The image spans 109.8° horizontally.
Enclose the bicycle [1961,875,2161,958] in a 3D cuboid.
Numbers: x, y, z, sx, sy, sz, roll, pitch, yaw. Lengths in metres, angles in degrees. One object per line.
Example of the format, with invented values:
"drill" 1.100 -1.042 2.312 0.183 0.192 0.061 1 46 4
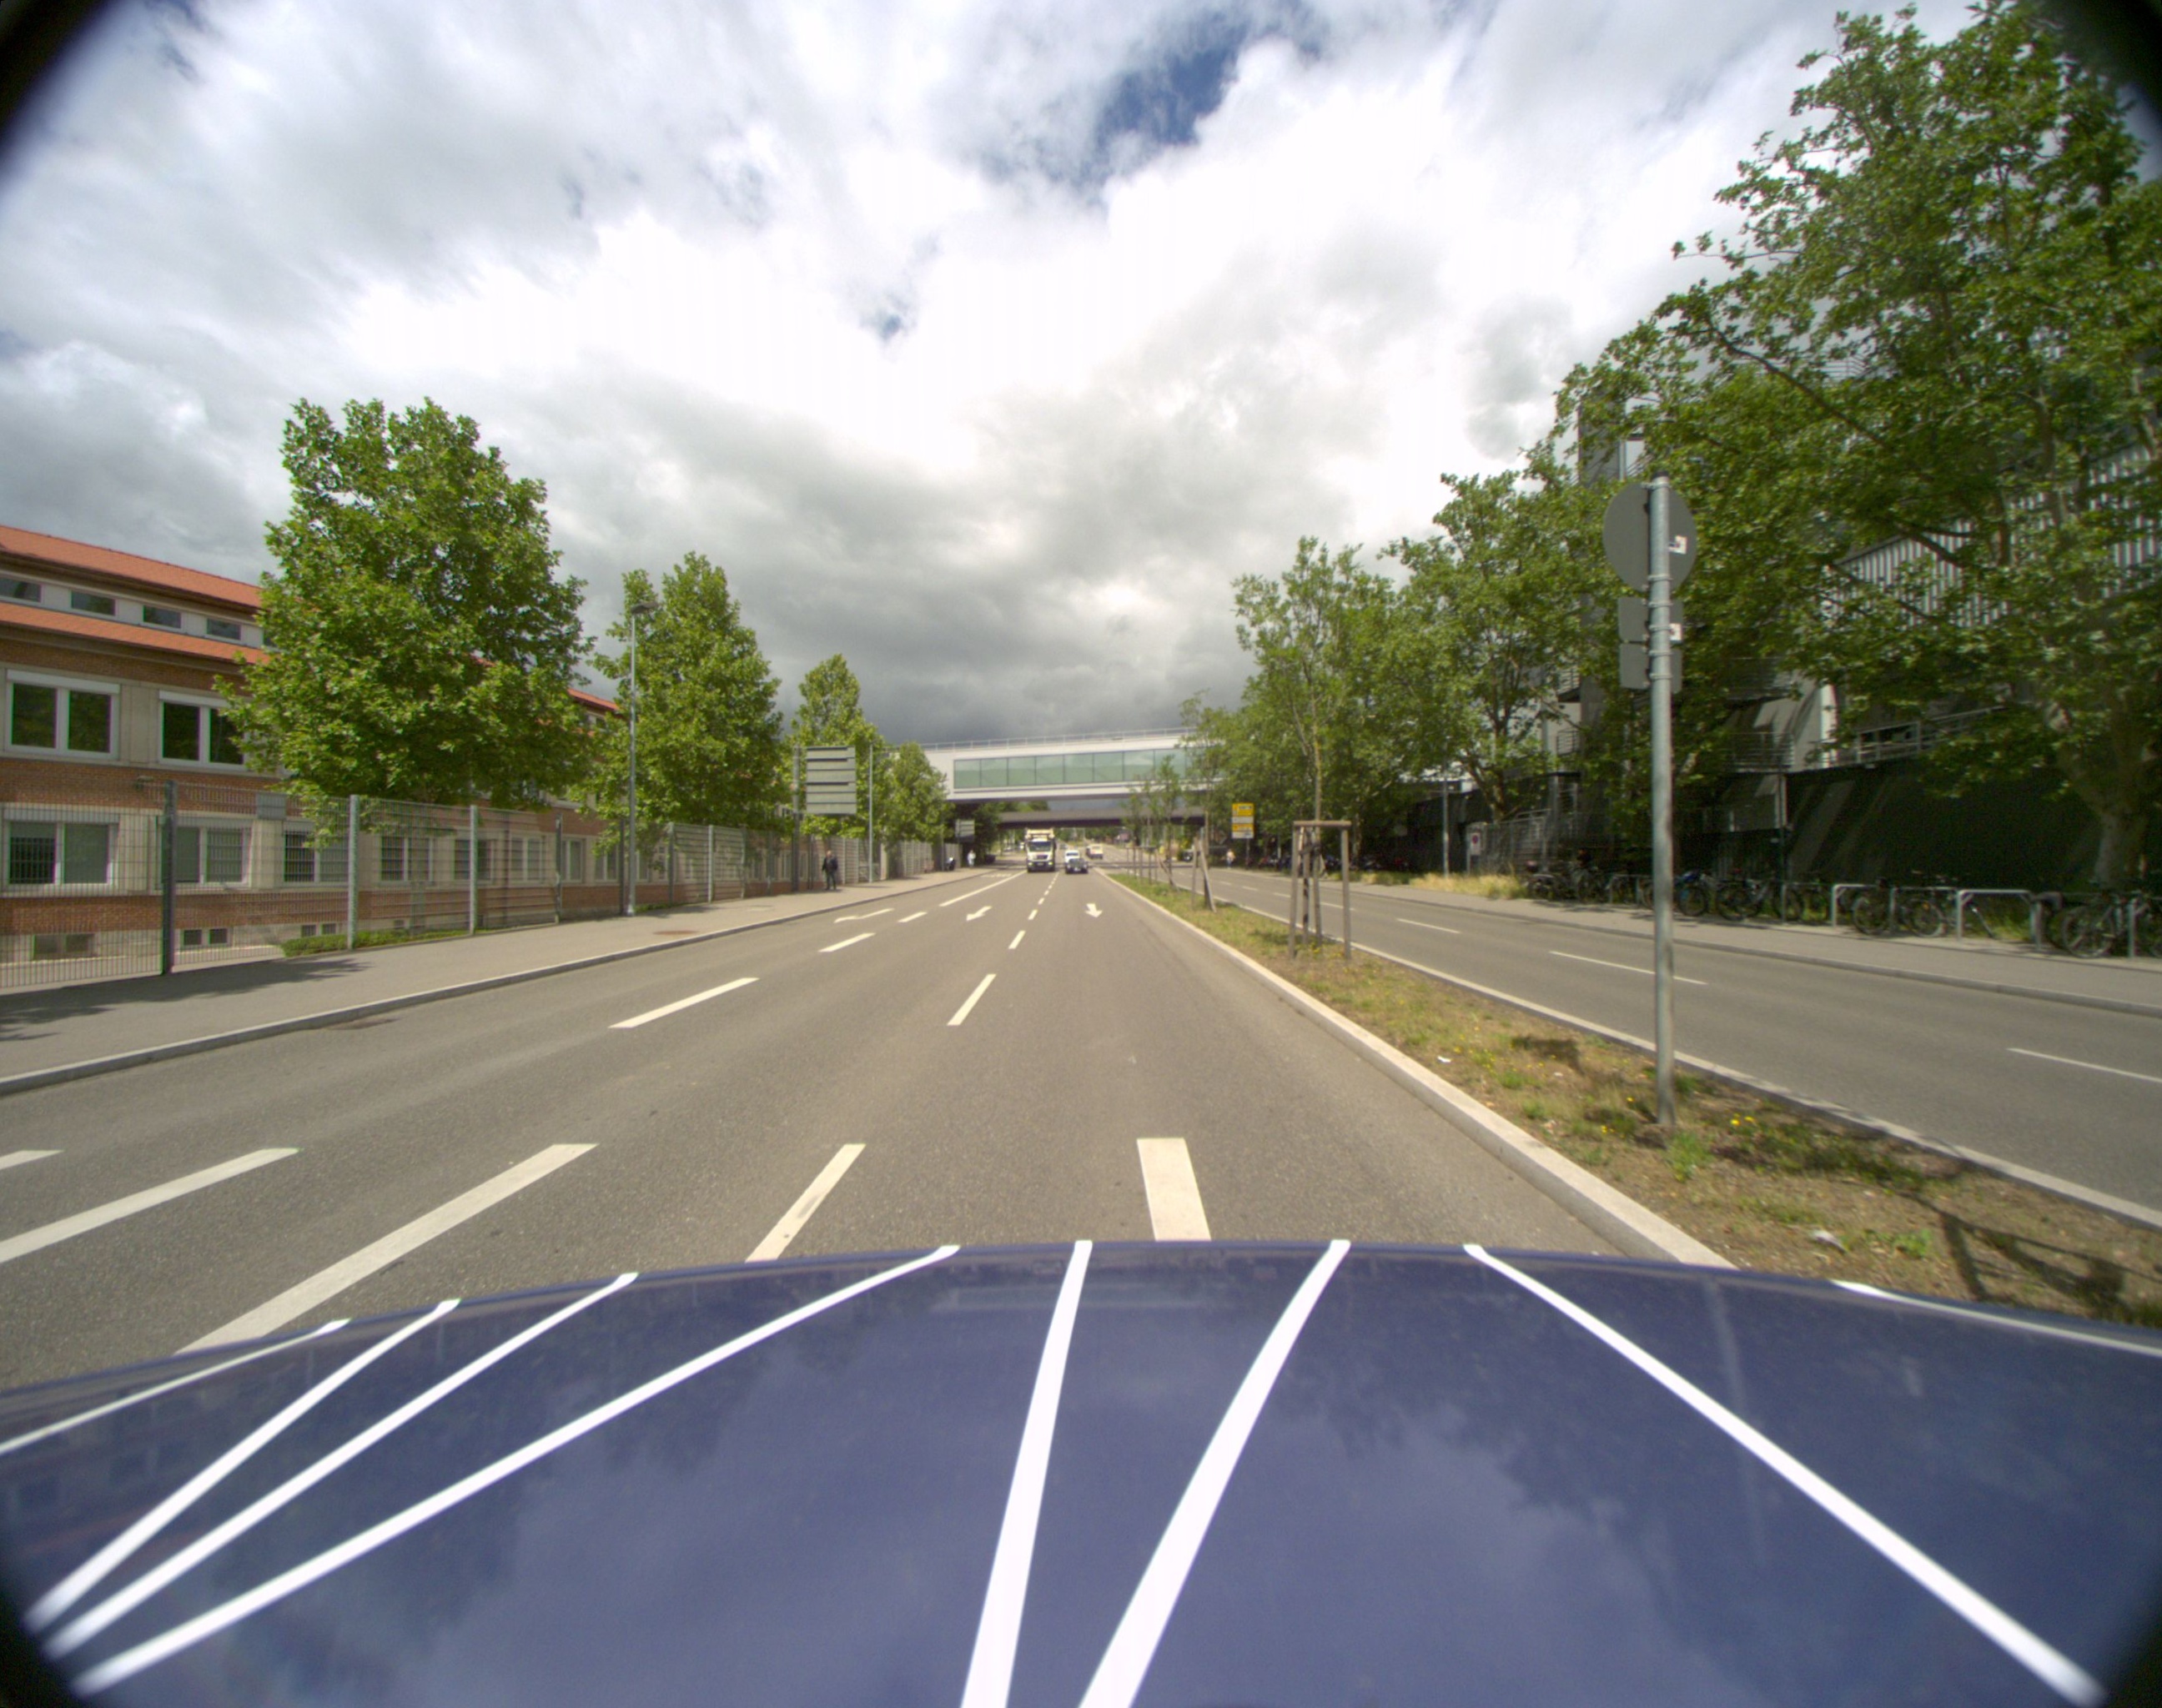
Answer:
"bicycle" 14.994 0.927 11.327 2.569 1.151 0.726 -1 1 10

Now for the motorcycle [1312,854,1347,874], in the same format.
"motorcycle" 15.646 0.624 47.857 1.882 1.172 0.698 -3 -1 3

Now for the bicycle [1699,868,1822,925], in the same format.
"bicycle" 14.335 0.878 16.064 1.923 1.116 0.806 -1 1 -2

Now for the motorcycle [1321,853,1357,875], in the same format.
"motorcycle" 15.116 0.596 44.576 1.881 1.179 0.730 -3 0 8

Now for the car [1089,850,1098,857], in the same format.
"car" 2.583 -0.136 154.436 1.713 1.445 4.479 -1 0 -1

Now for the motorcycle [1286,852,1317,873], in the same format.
"motorcycle" 15.084 0.581 51.920 1.934 1.336 0.866 -3 -1 20

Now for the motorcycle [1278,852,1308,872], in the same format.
"motorcycle" 15.146 0.569 54.220 1.934 1.283 0.894 -3 -1 20

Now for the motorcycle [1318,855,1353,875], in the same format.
"motorcycle" 15.269 0.656 45.673 1.880 1.078 0.795 -3 -1 15

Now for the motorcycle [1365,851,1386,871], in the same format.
"motorcycle" 18.753 0.448 48.423 0.654 1.202 1.984 -3 -1 4

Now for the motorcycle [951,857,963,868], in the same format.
"motorcycle" -11.768 0.799 72.114 0.709 1.058 2.510 2 1 -1

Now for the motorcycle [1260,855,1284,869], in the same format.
"motorcycle" 14.972 0.658 59.627 1.595 1.027 0.776 -3 -1 1

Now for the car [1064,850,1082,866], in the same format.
"car" -0.953 0.456 89.692 1.929 1.728 3.999 -1 0 -1

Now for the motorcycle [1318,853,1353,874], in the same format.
"motorcycle" 15.635 0.596 46.790 1.882 1.202 0.655 -3 -1 3

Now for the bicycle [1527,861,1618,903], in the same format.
"bicycle" 14.361 0.806 22.238 2.139 1.173 0.806 -1 1 -2

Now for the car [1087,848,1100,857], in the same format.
"car" 2.318 -0.223 139.572 1.910 1.621 4.291 -1 0 -4

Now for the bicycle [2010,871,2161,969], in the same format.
"bicycle" 14.329 0.887 10.433 2.410 1.250 0.556 -1 1 2

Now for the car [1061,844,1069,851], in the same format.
"car" -4.621 -1.961 218.442 1.999 2.002 3.999 -1 0 -1

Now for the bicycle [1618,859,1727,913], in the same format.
"bicycle" 14.903 0.791 19.177 2.139 1.275 0.806 -1 1 -2

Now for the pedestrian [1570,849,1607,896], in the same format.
"pedestrian" 17.044 0.599 25.544 0.755 1.543 0.821 -1 1 10

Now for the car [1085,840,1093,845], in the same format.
"car" 2.181 -3.188 207.123 1.998 1.346 4.000 0 1 1

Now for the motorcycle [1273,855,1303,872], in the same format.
"motorcycle" 15.162 0.680 55.771 1.933 1.109 0.923 -3 -1 27

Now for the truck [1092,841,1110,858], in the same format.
"truck" 3.342 -0.681 127.395 2.486 2.735 6.456 -1 0 -3

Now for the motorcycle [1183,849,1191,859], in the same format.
"motorcycle" 12.800 -0.037 91.761 0.641 1.191 2.257 -3 1 -1

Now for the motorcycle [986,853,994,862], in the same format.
"motorcycle" -12.205 0.509 101.985 0.679 1.148 2.112 0 1 0

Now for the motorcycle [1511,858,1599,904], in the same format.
"motorcycle" 14.256 0.800 22.880 2.139 1.301 0.806 -1 1 -2

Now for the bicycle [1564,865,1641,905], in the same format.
"bicycle" 14.742 0.872 21.496 1.929 1.068 0.422 -1 1 -2

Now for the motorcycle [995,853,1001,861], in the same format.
"motorcycle" -11.794 0.438 108.423 0.679 1.076 2.180 0 1 -2

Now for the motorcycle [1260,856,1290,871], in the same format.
"motorcycle" 14.678 0.717 57.465 1.939 1.109 0.920 1 1 -12

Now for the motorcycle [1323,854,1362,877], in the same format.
"motorcycle" 14.594 0.637 42.467 1.881 1.166 0.746 -3 -1 9

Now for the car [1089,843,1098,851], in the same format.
"car" 2.670 -1.535 163.334 1.813 1.770 4.977 -1 1 -1

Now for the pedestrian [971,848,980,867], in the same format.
"pedestrian" -10.815 0.353 78.144 0.791 1.877 1.097 0 1 -1

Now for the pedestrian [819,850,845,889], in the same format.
"pedestrian" -11.441 0.716 34.914 0.879 1.733 0.940 1 1 -1

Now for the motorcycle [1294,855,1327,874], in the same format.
"motorcycle" 14.839 0.675 49.219 1.881 1.172 0.815 -3 -1 9

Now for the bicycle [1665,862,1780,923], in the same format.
"bicycle" 14.375 0.850 17.053 1.923 1.275 0.806 -1 1 -2

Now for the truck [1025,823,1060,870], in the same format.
"truck" -3.512 -0.677 71.266 2.787 3.981 10.085 -1 0 -1

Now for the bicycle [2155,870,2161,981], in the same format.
"bicycle" 14.312 0.858 9.084 2.172 1.356 0.490 -1 1 2

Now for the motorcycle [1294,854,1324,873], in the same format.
"motorcycle" 15.127 0.626 50.471 1.880 1.172 0.816 -3 -1 15

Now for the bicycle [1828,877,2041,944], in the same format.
"bicycle" 14.740 0.956 13.195 2.569 1.089 0.696 0 1 10

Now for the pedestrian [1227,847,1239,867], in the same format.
"pedestrian" 12.853 0.241 64.248 0.769 1.603 0.813 -3 1 -1

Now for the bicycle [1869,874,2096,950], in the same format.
"bicycle" 14.605 0.942 12.370 2.569 1.151 0.644 -1 1 10

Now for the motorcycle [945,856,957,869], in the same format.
"motorcycle" -11.823 0.767 68.983 0.670 1.058 2.246 2 1 -1

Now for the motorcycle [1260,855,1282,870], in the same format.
"motorcycle" 15.250 0.650 61.000 1.595 1.116 0.776 -3 -1 1

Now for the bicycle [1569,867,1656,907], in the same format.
"bicycle" 14.690 0.908 21.027 2.086 1.056 0.497 -1 1 -2

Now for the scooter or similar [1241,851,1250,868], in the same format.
"scooter or similar" 13.124 0.435 60.578 0.355 1.229 1.479 -2 2 -1

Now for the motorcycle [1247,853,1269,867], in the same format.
"motorcycle" 14.998 0.512 64.376 1.745 1.164 0.777 -3 -1 8

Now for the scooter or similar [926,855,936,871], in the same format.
"scooter or similar" -12.196 0.753 61.785 0.492 1.287 1.336 0 1 -1

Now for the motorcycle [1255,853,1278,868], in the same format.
"motorcycle" 15.213 0.517 62.333 1.596 1.116 0.775 -3 -1 -9

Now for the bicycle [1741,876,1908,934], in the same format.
"bicycle" 14.800 0.985 15.147 2.844 1.000 0.850 -1 1 -9

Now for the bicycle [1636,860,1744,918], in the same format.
"bicycle" 14.343 0.816 17.930 1.923 1.275 0.806 -1 1 -2

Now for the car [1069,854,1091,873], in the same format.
"car" -0.138 0.722 61.117 1.675 1.390 3.999 -1 0 -1
